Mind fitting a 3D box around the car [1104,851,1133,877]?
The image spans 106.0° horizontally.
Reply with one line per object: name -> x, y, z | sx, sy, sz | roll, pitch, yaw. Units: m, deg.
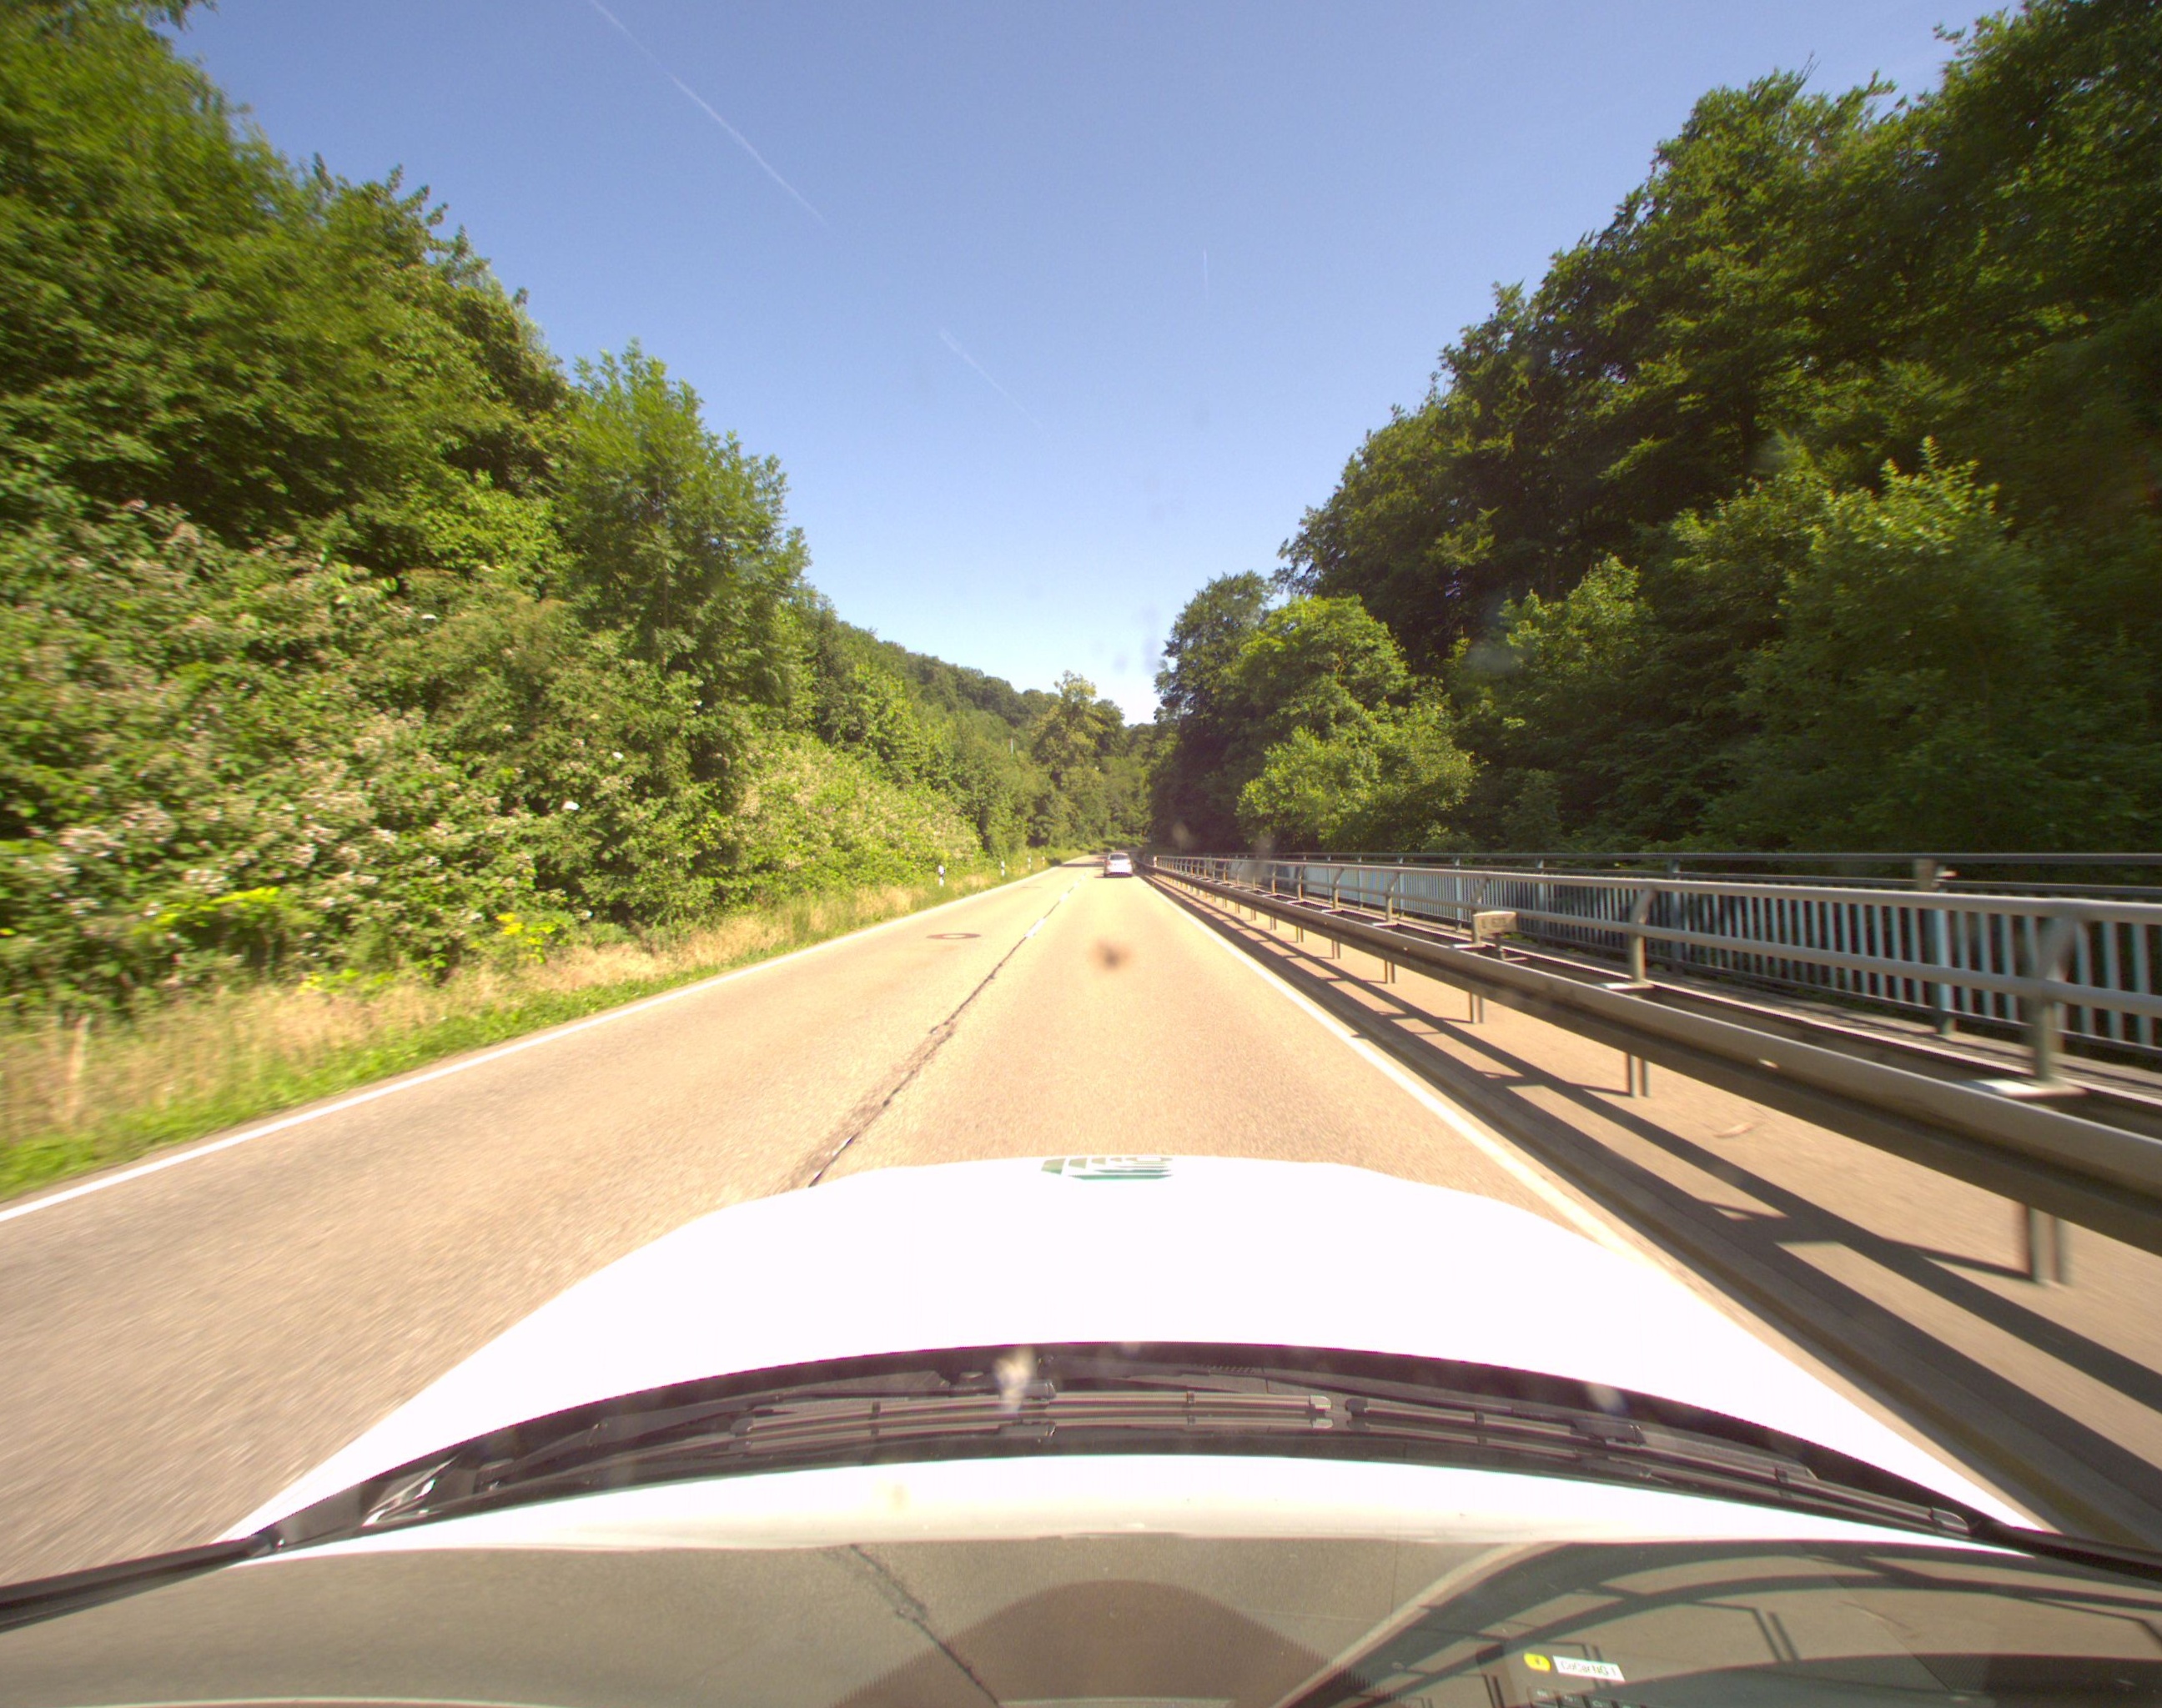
car -> 2.353, 0.617, 51.851 | 1.745, 1.520, 4.161 | 0, 1, 1
